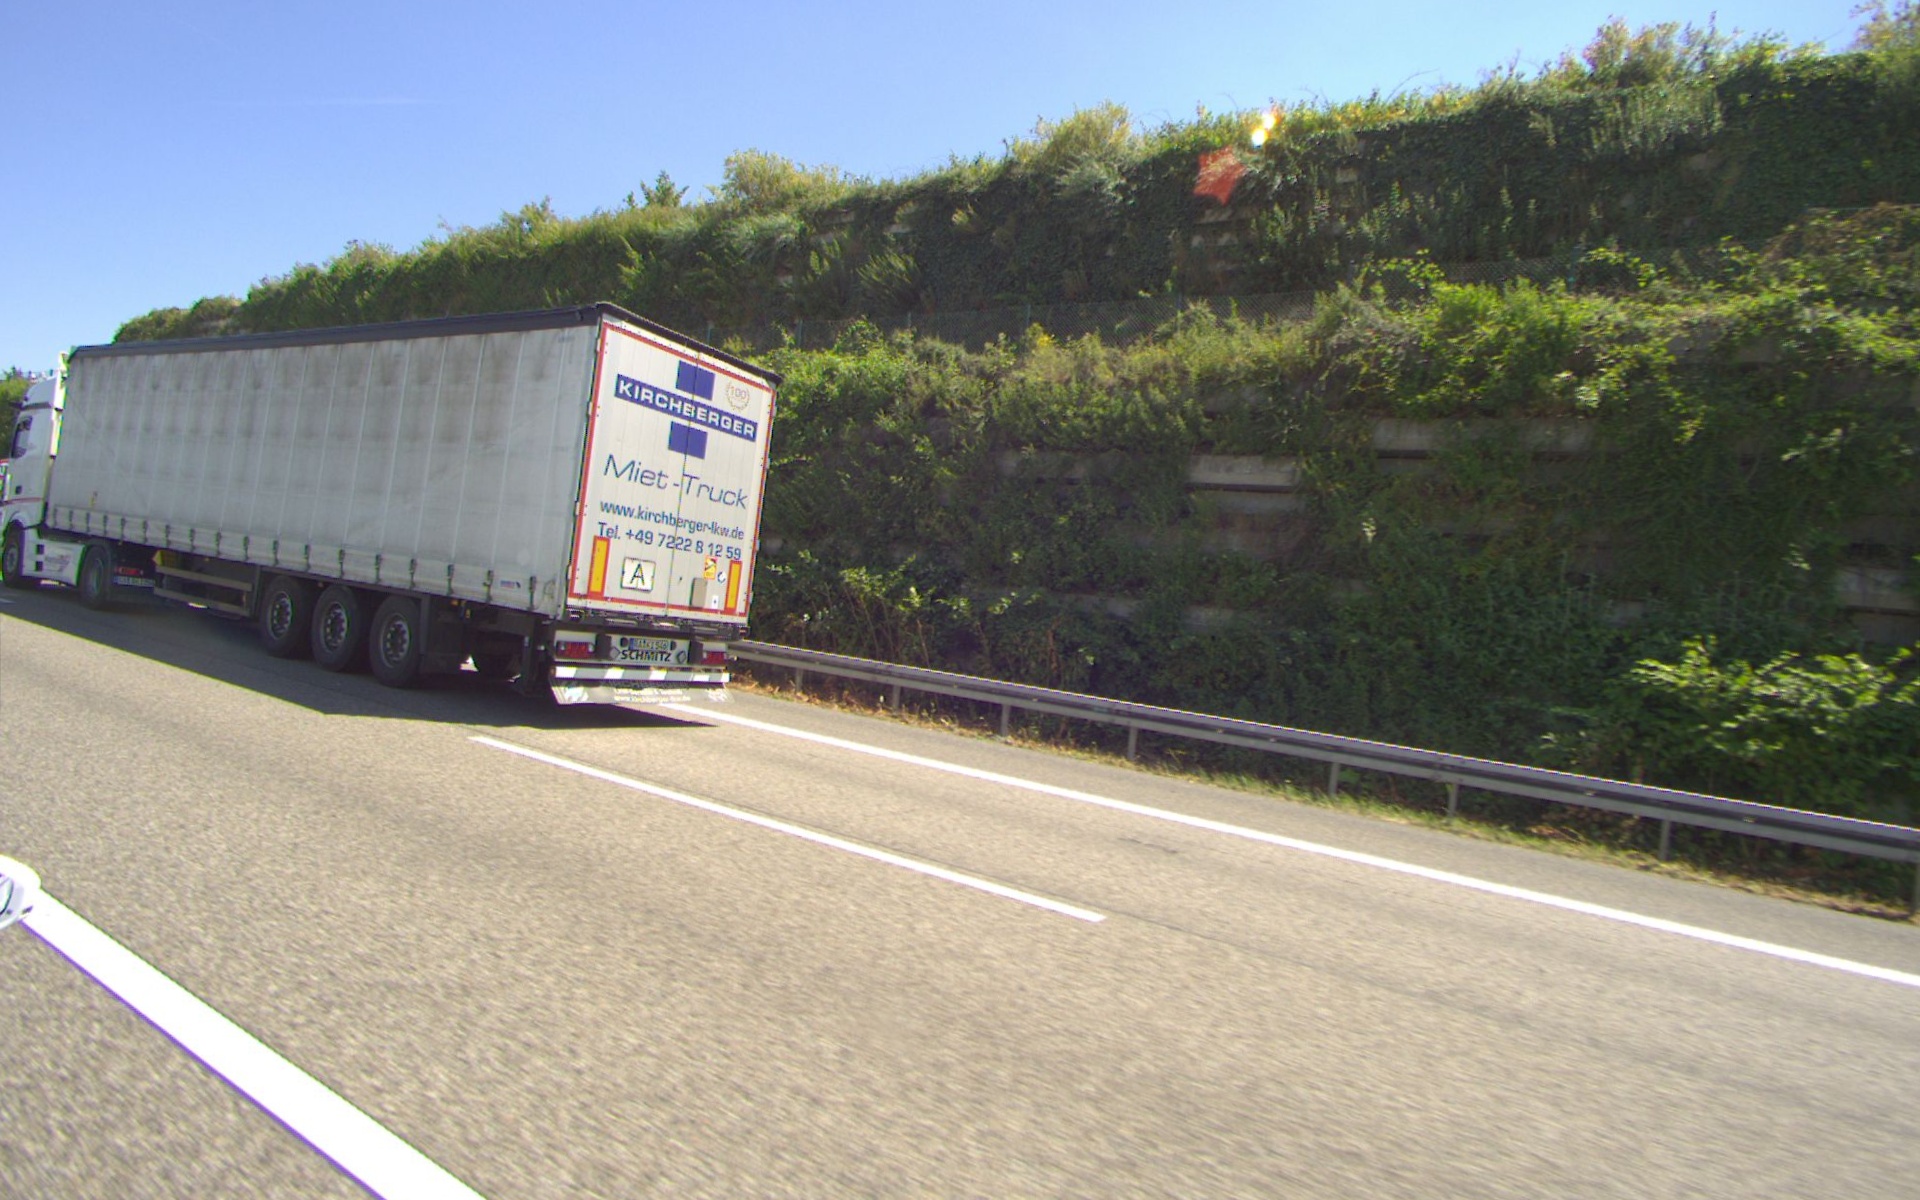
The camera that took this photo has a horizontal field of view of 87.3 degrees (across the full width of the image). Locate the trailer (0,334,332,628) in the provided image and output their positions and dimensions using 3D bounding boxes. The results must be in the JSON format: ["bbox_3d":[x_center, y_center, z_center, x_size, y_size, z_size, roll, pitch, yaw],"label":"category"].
[{"bbox_3d":[-14.357,-2.024,17.591,6.676,4.152,2.717,6,0,32],"label":"trailer"}]

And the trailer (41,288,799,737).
[{"bbox_3d":[-8.268,-1.301,13.829,12.970,4.152,2.732,6,0,32],"label":"trailer"}]
